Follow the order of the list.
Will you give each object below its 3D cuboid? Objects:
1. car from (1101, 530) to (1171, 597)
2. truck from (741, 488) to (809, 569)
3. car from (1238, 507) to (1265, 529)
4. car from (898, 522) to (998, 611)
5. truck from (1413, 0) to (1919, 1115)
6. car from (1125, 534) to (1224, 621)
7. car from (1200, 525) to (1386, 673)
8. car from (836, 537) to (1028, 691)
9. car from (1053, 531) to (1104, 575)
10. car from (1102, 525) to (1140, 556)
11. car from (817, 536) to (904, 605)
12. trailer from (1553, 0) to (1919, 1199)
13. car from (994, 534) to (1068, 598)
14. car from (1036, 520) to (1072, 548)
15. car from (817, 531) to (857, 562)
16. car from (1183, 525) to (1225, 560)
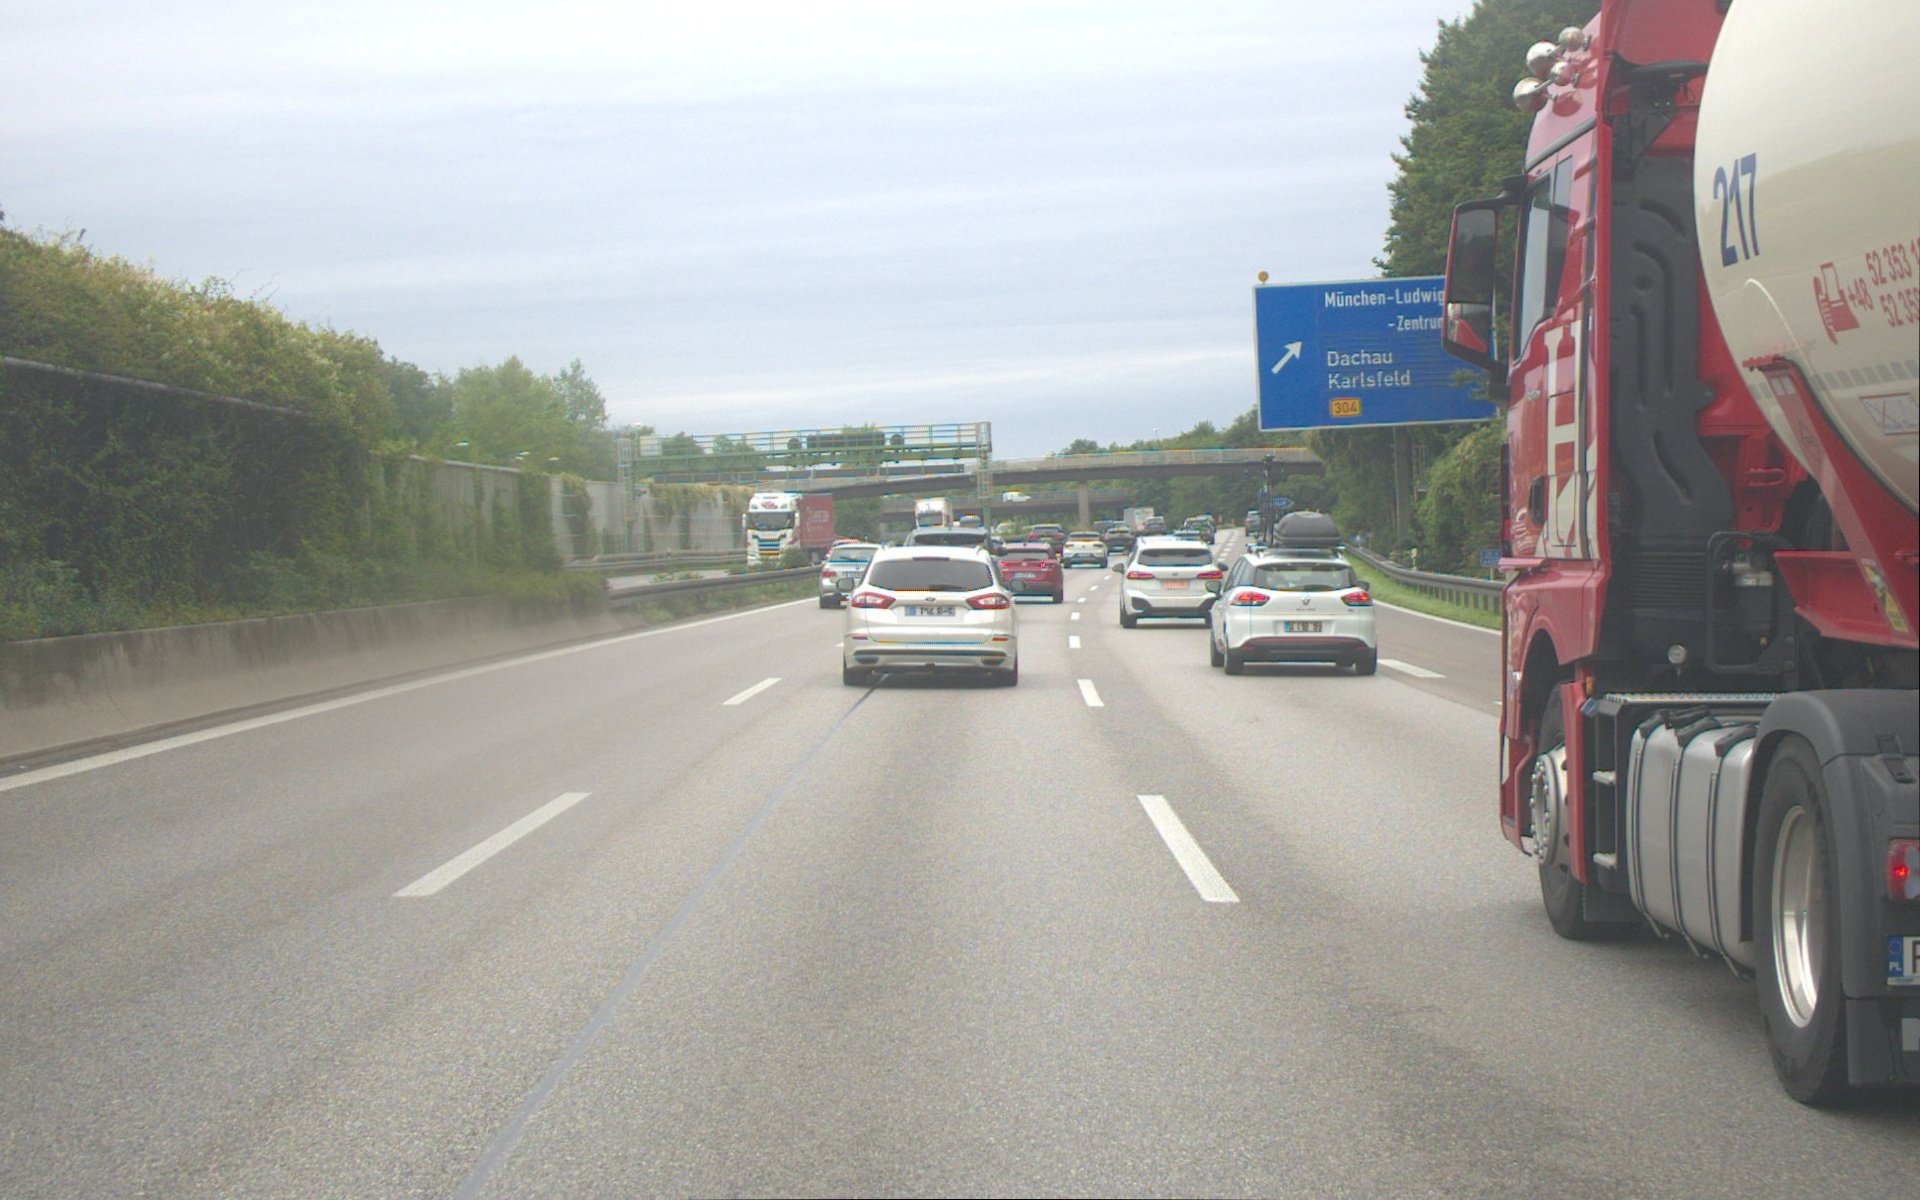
[{"bbox_3d":[4.916,-1.008,95.672,1.689,1.773,3.870,-2,0,6],"label":"car"},{"bbox_3d":[-9.717,-3.756,180.954,2.668,4.113,5.915,-1,1,5],"label":"truck"},{"bbox_3d":[18.832,-5.294,222.313,1.689,1.417,3.871,0,1,4],"label":"car"},{"bbox_3d":[-0.206,-0.653,64.643,1.689,1.501,3.871,4,2,1],"label":"car"},{"bbox_3d":[3.460,-0.652,12.292,2.695,3.899,6.557,0,1,-1],"label":"truck"},{"bbox_3d":[3.848,-0.409,61.348,1.689,1.501,3.871,0,0,5],"label":"car"},{"bbox_3d":[3.846,-0.045,40.389,1.816,1.620,5.030,0,1,1],"label":"car"},{"bbox_3d":[-0.293,0.108,37.271,1.891,1.499,5.030,2,1,0],"label":"car"},{"bbox_3d":[4.934,-1.943,142.945,1.790,1.773,3.870,-1,1,6],"label":"car"},{"bbox_3d":[8.413,-3.113,179.468,1.689,1.534,3.870,0,1,6],"label":"car"},{"bbox_3d":[-2.244,-0.658,78.772,1.720,1.464,5.029,-1,-1,1],"label":"car"},{"bbox_3d":[3.458,-0.547,5.202,2.668,3.925,13.131,0,1,-1],"label":"trailer"},{"bbox_3d":[1.756,-0.849,83.896,1.689,1.501,3.871,0,1,3],"label":"car"},{"bbox_3d":[4.935,-3.478,179.950,1.689,1.417,3.871,0,1,4],"label":"car"},{"bbox_3d":[-6.387,-2.762,178.532,1.772,1.564,4.717,0,0,2],"label":"car"},{"bbox_3d":[10.908,-2.589,153.661,1.689,1.534,3.870,0,1,6],"label":"car"}]
